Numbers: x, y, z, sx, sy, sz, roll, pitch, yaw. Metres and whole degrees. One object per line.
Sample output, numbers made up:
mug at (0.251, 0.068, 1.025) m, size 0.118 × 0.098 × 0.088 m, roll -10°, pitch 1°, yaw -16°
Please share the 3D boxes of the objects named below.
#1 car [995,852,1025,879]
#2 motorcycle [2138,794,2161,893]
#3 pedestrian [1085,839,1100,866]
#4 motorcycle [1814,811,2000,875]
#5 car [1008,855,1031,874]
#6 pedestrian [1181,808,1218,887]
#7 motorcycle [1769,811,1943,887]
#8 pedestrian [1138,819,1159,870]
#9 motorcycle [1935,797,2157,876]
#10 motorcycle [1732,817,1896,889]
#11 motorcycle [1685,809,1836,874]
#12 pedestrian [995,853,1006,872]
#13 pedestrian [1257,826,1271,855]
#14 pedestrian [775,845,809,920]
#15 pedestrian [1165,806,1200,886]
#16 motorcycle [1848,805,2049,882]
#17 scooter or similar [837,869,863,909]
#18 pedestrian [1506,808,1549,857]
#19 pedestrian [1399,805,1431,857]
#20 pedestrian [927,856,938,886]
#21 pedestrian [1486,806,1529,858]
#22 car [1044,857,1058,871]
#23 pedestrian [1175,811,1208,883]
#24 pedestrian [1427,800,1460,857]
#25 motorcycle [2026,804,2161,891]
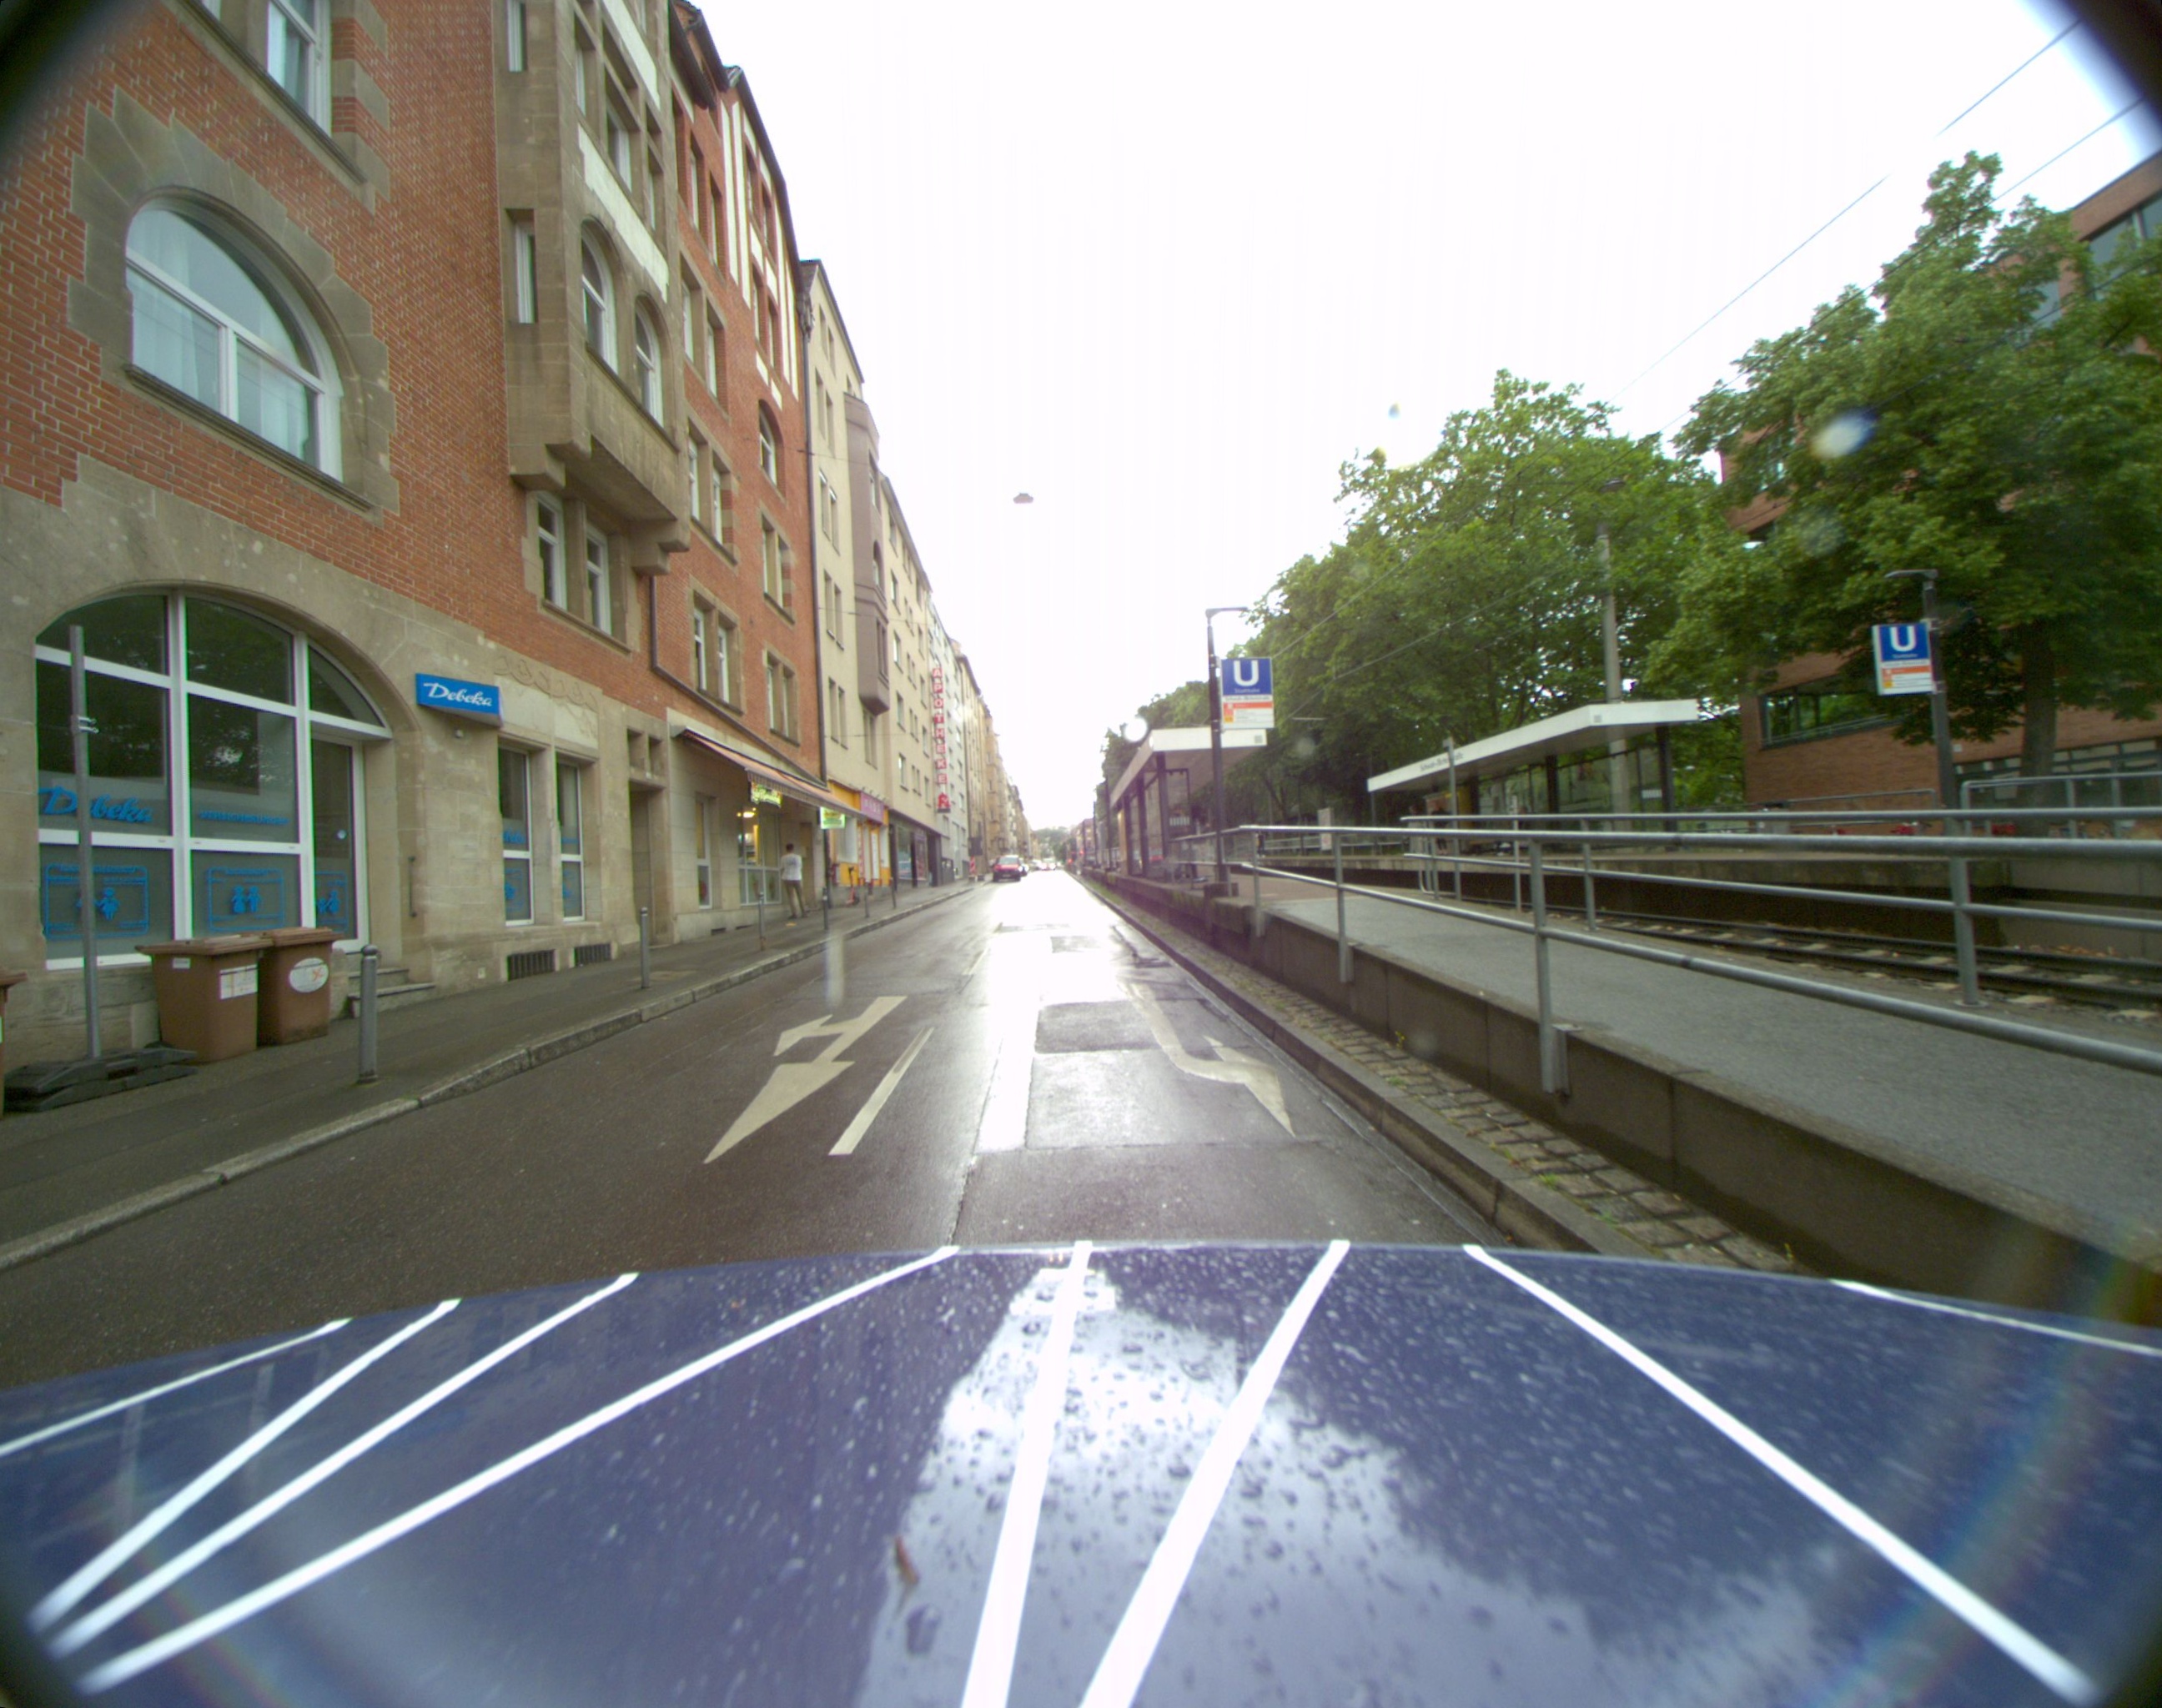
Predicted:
car at (-5.070, 0.779, 55.126) m, size 1.980 × 1.827 × 5.243 m, roll -3°, pitch 0°, yaw -4°
motorcycle at (21.177, -0.273, 13.687) m, size 3.045 × 1.805 × 0.993 m, roll -3°, pitch 1°, yaw -4°
pedestrian at (0.789, -0.114, 51.795) m, size 0.861 × 1.788 × 0.787 m, roll -3°, pitch 0°, yaw -3°
motorcycle at (21.251, -0.290, 19.586) m, size 3.875 × 1.399 × 1.006 m, roll -3°, pitch 1°, yaw -4°
car at (-5.727, 0.968, 70.874) m, size 1.770 × 1.698 × 4.499 m, roll -3°, pitch 0°, yaw -1°
pedestrian at (2.449, -0.129, 15.726) m, size 0.615 × 1.572 × 0.507 m, roll -3°, pitch 1°, yaw 1°
motorcycle at (21.186, -0.144, 20.816) m, size 3.875 × 1.805 × 1.006 m, roll -3°, pitch 1°, yaw -4°
pedestrian at (2.189, -0.308, 24.518) m, size 0.496 × 1.595 × 0.637 m, roll -2°, pitch 1°, yaw 14°
motorcycle at (21.367, -0.385, 16.862) m, size 3.875 × 1.479 × 1.006 m, roll -3°, pitch 1°, yaw -4°
motorcycle at (21.145, -0.029, 21.964) m, size 3.875 × 1.805 × 1.006 m, roll -3°, pitch 1°, yaw -4°
motorcycle at (20.958, -0.386, 23.475) m, size 3.875 × 1.763 × 1.006 m, roll -3°, pitch 1°, yaw -4°
pedestrian at (-7.583, 0.813, 71.388) m, size 0.853 × 1.747 × 0.837 m, roll -4°, pitch 0°, yaw -2°
pedestrian at (10.556, -0.784, 43.864) m, size 0.563 × 1.631 × 0.689 m, roll -4°, pitch 0°, yaw 4°
pedestrian at (-7.143, 0.692, 18.789) m, size 0.562 × 1.820 × 0.580 m, roll 2°, pitch 2°, yaw 34°
pedestrian at (2.192, -0.175, 16.532) m, size 0.615 × 1.678 × 0.587 m, roll -3°, pitch 1°, yaw 1°
motorcycle at (20.934, -0.257, 18.375) m, size 3.875 × 1.596 × 1.006 m, roll -3°, pitch 1°, yaw -4°
scooter or similar at (-7.205, 1.077, 23.722) m, size 0.258 × 1.214 × 1.195 m, roll -3°, pitch -1°, yaw 7°
pedestrian at (11.759, -0.554, 20.018) m, size 0.705 × 1.233 × 0.564 m, roll -4°, pitch 0°, yaw -4°
pedestrian at (11.050, -0.753, 25.144) m, size 0.688 × 1.631 × 0.564 m, roll -4°, pitch 0°, yaw -4°
pedestrian at (-8.407, 0.951, 43.037) m, size 0.483 × 1.635 × 0.330 m, roll -4°, pitch 1°, yaw -27°
pedestrian at (11.591, -0.595, 20.654) m, size 0.779 × 1.354 × 0.564 m, roll -4°, pitch 0°, yaw -4°
car at (-3.761, 1.254, 95.343) m, size 1.621 × 1.592 × 4.066 m, roll -2°, pitch -1°, yaw -3°
pedestrian at (2.484, -0.151, 17.148) m, size 0.615 × 1.572 × 0.507 m, roll -3°, pitch 1°, yaw 1°
pedestrian at (11.249, -0.776, 23.587) m, size 0.564 × 1.705 × 0.705 m, roll -4°, pitch 0°, yaw -4°
motorcycle at (21.331, -0.165, 15.463) m, size 3.067 × 1.618 × 1.006 m, roll -3°, pitch 1°, yaw -4°
